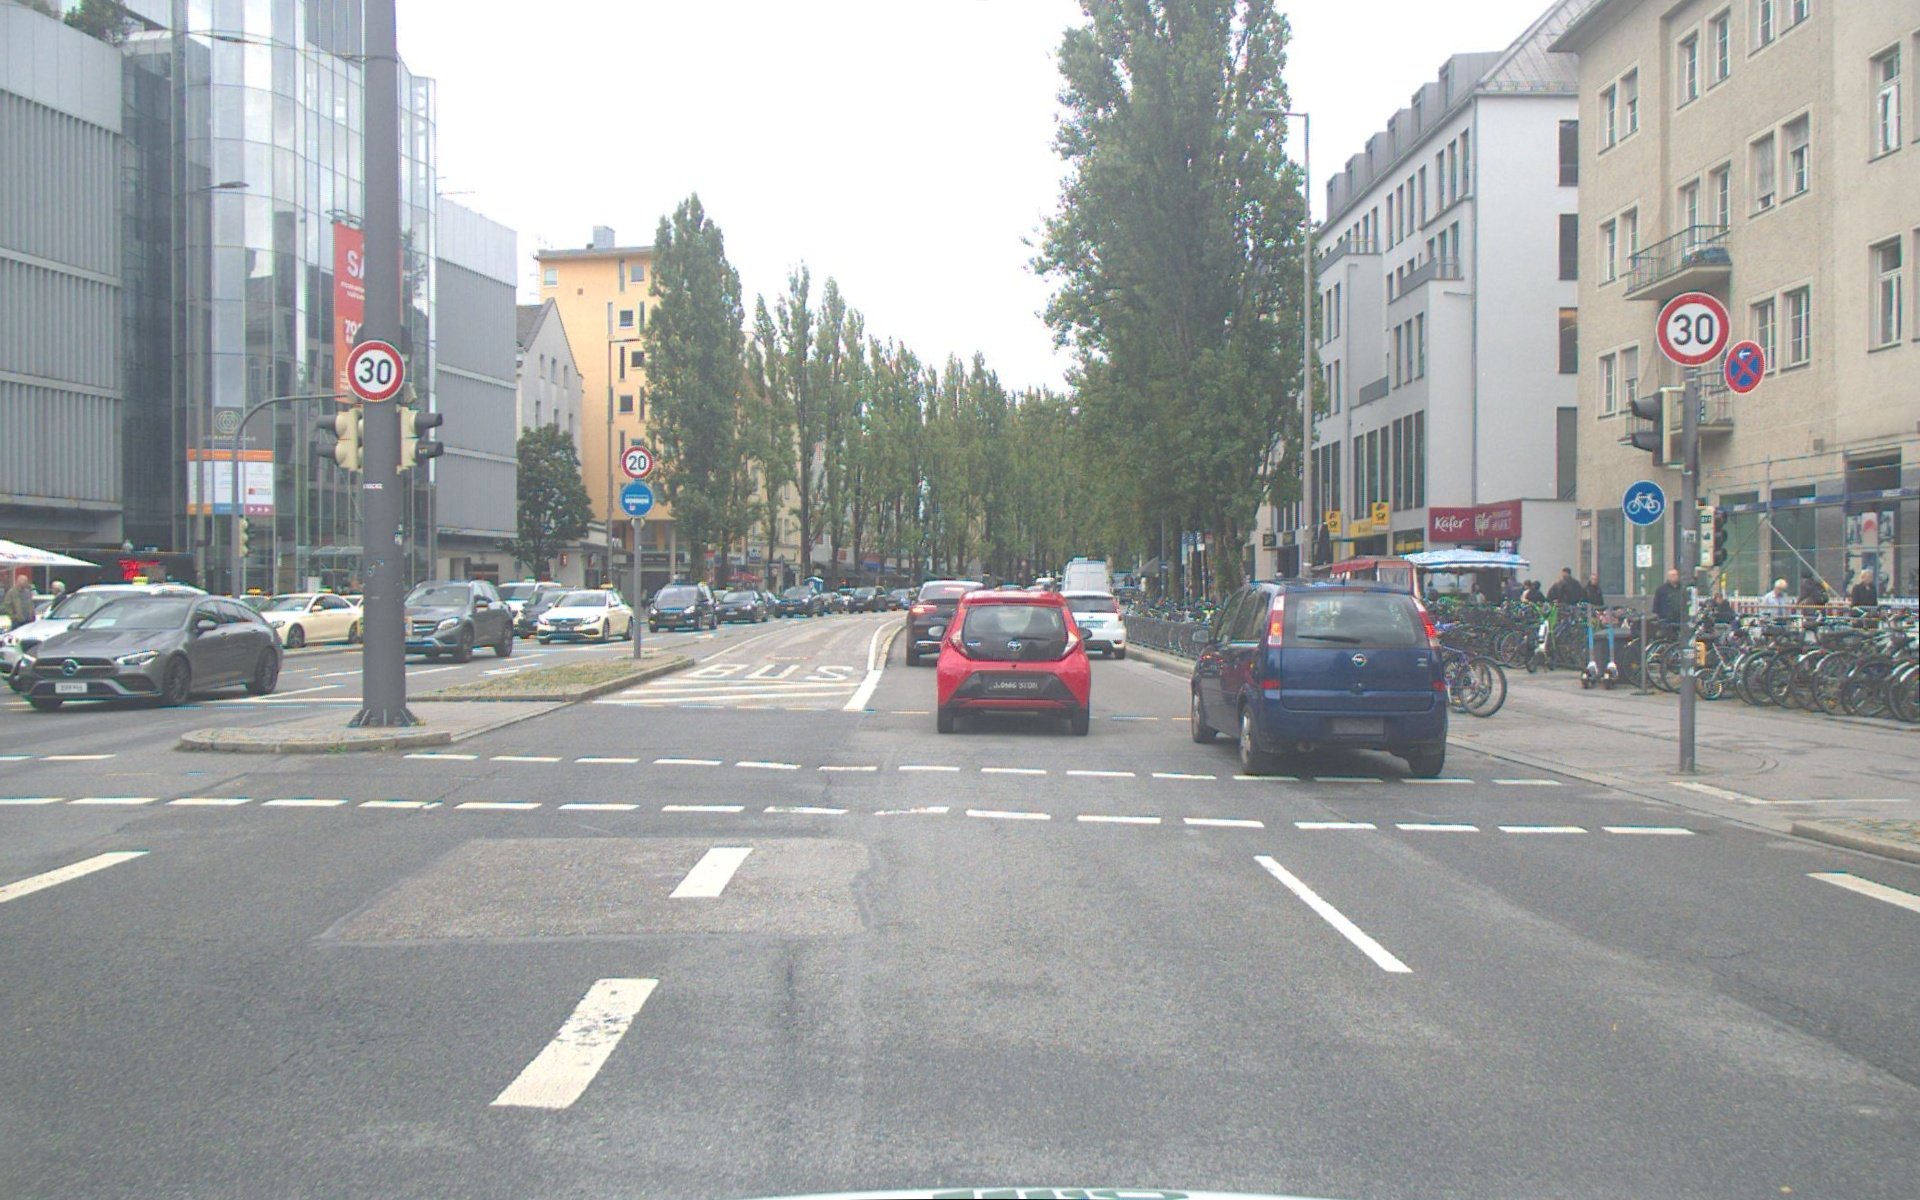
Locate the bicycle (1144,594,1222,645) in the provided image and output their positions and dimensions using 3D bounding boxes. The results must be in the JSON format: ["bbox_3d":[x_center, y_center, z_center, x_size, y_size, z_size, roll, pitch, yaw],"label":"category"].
[{"bbox_3d":[5.218,0.443,38.750,1.805,1.156,0.583,0,1,42],"label":"bicycle"}]

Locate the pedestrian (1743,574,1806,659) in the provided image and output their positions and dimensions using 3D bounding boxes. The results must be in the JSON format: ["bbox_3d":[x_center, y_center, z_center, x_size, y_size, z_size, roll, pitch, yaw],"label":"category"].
[{"bbox_3d":[15.256,0.295,30.998,0.762,1.544,0.758,-2,1,-3],"label":"pedestrian"}]

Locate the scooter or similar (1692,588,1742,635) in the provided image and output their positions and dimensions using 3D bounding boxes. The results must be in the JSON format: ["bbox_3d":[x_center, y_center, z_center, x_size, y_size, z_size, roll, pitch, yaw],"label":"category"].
[{"bbox_3d":[16.321,0.238,35.679,0.524,0.960,1.124,-2,1,-2],"label":"scooter or similar"}]

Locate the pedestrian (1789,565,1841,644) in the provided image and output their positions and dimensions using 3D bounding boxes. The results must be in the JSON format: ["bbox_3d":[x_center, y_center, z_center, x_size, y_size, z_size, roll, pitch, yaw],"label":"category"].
[{"bbox_3d":[17.450,0.089,33.769,0.635,1.596,0.787,-1,1,0],"label":"pedestrian"}]

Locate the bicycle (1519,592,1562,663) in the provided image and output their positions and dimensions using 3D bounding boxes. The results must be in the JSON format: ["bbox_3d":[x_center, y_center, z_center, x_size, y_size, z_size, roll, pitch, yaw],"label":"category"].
[{"bbox_3d":[10.061,0.459,28.657,0.361,1.161,1.720,0,1,31],"label":"bicycle"}]

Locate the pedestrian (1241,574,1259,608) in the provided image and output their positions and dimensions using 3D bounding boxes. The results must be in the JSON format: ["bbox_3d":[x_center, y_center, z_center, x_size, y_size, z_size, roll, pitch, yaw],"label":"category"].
[{"bbox_3d":[13.786,-0.428,78.669,0.748,1.621,0.676,0,0,-1],"label":"pedestrian"}]

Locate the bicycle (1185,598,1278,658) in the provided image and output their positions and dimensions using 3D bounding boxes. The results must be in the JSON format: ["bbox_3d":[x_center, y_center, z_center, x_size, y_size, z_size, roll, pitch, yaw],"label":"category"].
[{"bbox_3d":[5.325,0.531,32.502,1.773,1.130,0.583,0,1,42],"label":"bicycle"}]

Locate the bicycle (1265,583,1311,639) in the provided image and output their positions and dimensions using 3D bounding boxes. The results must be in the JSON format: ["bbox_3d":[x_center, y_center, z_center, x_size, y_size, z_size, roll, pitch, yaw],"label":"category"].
[{"bbox_3d":[7.932,0.239,40.068,0.601,1.287,2.519,-1,1,0],"label":"bicycle"}]

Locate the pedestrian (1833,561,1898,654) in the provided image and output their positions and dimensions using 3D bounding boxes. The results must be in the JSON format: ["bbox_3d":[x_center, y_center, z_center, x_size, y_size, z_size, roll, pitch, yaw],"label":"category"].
[{"bbox_3d":[16.659,0.130,30.449,0.735,1.679,0.758,-2,1,-3],"label":"pedestrian"}]

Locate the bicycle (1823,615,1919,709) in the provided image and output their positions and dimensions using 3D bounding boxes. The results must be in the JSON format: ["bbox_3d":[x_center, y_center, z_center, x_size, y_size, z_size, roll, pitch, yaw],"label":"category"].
[{"bbox_3d":[10.480,0.666,18.137,1.801,0.981,0.508,-1,1,-3],"label":"bicycle"}]

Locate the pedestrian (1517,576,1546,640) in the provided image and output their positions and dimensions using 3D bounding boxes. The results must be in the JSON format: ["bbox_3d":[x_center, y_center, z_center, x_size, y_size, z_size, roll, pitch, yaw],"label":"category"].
[{"bbox_3d":[13.990,0.189,40.489,0.568,1.531,0.615,0,0,30],"label":"pedestrian"}]

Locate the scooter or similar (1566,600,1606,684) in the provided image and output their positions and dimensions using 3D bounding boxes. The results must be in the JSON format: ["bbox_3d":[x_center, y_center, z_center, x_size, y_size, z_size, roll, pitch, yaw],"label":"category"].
[{"bbox_3d":[9.313,0.604,24.591,0.357,1.196,1.345,0,1,29],"label":"scooter or similar"}]

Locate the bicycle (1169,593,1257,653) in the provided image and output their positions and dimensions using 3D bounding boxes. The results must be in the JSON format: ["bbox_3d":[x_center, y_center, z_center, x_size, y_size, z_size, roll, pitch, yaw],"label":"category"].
[{"bbox_3d":[5.284,0.458,34.611,1.805,1.218,0.583,0,1,42],"label":"bicycle"}]

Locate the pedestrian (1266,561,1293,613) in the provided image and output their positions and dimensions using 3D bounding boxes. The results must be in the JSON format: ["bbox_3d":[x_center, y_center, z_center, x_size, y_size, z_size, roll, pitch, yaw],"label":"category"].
[{"bbox_3d":[10.966,-0.457,56.794,0.774,1.758,0.763,-1,0,-1],"label":"pedestrian"}]

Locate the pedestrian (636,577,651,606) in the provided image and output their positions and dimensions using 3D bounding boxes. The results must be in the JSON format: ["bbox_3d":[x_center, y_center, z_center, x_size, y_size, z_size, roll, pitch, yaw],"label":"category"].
[{"bbox_3d":[-20.586,-0.562,107.541,0.673,1.842,0.766,0,0,11],"label":"pedestrian"}]

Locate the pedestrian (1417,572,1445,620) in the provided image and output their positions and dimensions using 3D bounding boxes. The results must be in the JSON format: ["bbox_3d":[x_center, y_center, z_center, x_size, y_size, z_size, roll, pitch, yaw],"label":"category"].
[{"bbox_3d":[16.020,-0.146,56.271,0.717,1.630,0.742,0,0,-1],"label":"pedestrian"}]

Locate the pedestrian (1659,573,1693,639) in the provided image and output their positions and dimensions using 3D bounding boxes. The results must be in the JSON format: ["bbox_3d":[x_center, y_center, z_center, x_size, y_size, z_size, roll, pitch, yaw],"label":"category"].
[{"bbox_3d":[18.343,0.139,42.385,0.628,1.673,0.562,-1,0,-1],"label":"pedestrian"}]

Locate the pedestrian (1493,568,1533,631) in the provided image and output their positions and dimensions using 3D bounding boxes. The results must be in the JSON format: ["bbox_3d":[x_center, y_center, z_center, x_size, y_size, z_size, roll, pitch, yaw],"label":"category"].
[{"bbox_3d":[13.943,-0.016,41.685,0.794,1.548,0.798,0,1,32],"label":"pedestrian"}]

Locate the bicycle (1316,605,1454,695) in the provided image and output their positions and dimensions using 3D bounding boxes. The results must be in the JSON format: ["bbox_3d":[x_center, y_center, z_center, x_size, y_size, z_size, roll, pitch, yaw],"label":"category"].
[{"bbox_3d":[5.833,0.668,22.761,1.769,1.178,0.546,0,1,37],"label":"bicycle"}]

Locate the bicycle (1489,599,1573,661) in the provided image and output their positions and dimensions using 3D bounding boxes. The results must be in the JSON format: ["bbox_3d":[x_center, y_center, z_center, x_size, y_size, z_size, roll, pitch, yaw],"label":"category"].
[{"bbox_3d":[10.254,0.537,29.717,1.389,1.096,0.369,-1,0,0],"label":"bicycle"}]

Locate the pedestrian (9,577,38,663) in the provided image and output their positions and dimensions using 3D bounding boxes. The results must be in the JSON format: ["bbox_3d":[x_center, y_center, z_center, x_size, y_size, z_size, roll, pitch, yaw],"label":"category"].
[{"bbox_3d":[-19.505,0.412,34.441,0.438,1.790,0.354,0,1,35],"label":"pedestrian"}]

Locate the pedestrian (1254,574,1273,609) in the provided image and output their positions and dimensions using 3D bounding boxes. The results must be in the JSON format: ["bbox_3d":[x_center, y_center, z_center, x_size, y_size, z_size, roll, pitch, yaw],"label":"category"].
[{"bbox_3d":[13.763,-0.378,74.987,0.698,1.585,0.676,0,0,-1],"label":"pedestrian"}]

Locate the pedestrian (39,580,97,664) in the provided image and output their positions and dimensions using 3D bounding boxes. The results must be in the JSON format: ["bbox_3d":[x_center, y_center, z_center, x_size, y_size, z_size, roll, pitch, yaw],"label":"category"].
[{"bbox_3d":[-18.573,0.457,34.441,0.754,1.720,0.752,0,1,4],"label":"pedestrian"}]

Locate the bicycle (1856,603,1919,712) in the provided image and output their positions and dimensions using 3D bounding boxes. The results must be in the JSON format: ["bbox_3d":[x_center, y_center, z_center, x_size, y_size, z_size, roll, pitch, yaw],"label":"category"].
[{"bbox_3d":[10.534,0.593,17.547,1.801,1.113,0.508,-1,0,-3],"label":"bicycle"}]

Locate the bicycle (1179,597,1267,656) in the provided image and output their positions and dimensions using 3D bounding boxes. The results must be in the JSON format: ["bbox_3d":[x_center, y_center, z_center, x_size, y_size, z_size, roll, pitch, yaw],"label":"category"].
[{"bbox_3d":[5.261,0.522,33.165,1.773,1.130,0.488,0,1,42],"label":"bicycle"}]

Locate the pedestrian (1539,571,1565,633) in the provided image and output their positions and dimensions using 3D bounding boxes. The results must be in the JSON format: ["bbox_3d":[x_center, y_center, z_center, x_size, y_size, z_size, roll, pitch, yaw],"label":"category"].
[{"bbox_3d":[14.658,0.042,40.961,0.497,1.510,0.463,0,1,34],"label":"pedestrian"}]

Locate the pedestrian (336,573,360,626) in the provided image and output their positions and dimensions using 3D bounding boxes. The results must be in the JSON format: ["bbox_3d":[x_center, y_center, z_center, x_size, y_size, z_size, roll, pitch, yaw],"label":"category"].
[{"bbox_3d":[-21.407,-0.008,57.828,0.545,1.849,0.628,0,0,10],"label":"pedestrian"}]

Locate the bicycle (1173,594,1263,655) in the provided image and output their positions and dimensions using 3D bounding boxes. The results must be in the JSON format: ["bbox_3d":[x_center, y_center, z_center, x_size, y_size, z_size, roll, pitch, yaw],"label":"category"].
[{"bbox_3d":[5.269,0.484,33.829,1.805,1.188,0.583,0,1,42],"label":"bicycle"}]

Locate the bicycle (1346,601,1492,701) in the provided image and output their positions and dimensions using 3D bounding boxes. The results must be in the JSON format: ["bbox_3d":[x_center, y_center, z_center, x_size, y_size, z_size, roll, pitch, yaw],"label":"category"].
[{"bbox_3d":[5.912,0.636,21.369,1.773,1.219,0.556,0,1,43],"label":"bicycle"}]

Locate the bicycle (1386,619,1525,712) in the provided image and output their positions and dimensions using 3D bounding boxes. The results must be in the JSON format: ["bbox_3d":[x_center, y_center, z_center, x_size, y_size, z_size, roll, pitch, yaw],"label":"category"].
[{"bbox_3d":[5.931,0.765,19.854,0.495,1.046,1.576,-1,1,-43],"label":"bicycle"}]

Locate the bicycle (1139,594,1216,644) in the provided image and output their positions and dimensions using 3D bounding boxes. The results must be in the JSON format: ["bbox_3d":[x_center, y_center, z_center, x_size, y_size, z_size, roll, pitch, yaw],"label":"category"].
[{"bbox_3d":[5.188,0.441,39.511,1.805,1.156,0.583,0,1,42],"label":"bicycle"}]

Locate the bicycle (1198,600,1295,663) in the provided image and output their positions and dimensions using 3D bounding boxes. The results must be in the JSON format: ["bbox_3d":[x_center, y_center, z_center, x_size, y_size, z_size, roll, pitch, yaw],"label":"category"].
[{"bbox_3d":[5.377,0.572,31.075,1.772,1.130,0.559,0,1,41],"label":"bicycle"}]

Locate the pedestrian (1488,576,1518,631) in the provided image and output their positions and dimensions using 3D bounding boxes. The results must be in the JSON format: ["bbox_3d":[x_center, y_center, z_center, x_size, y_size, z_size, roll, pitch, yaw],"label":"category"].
[{"bbox_3d":[14.321,0.092,43.644,0.603,1.450,0.659,-1,0,4],"label":"pedestrian"}]

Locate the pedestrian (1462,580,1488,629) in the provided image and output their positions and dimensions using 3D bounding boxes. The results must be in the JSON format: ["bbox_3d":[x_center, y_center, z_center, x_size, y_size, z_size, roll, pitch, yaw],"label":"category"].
[{"bbox_3d":[15.335,0.133,49.256,0.586,1.427,0.580,0,0,-1],"label":"pedestrian"}]

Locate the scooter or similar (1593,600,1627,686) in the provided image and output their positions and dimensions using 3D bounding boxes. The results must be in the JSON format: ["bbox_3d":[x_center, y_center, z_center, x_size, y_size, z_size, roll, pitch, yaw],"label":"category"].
[{"bbox_3d":[9.521,0.613,24.223,0.294,1.196,1.275,0,1,29],"label":"scooter or similar"}]

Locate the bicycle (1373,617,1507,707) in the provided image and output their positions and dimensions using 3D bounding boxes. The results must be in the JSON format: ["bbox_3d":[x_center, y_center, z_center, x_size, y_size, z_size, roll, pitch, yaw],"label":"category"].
[{"bbox_3d":[5.958,0.751,20.583,0.495,1.046,1.576,-1,1,-43],"label":"bicycle"}]

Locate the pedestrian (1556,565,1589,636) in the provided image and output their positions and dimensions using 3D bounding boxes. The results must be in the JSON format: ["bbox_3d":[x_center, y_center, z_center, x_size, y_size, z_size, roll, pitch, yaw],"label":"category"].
[{"bbox_3d":[14.810,0.012,39.985,0.590,1.698,0.683,0,1,34],"label":"pedestrian"}]

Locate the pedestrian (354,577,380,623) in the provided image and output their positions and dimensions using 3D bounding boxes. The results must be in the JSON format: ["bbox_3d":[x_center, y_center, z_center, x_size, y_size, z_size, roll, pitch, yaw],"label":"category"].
[{"bbox_3d":[-22.192,-0.008,61.878,0.637,1.721,0.712,0,0,12],"label":"pedestrian"}]

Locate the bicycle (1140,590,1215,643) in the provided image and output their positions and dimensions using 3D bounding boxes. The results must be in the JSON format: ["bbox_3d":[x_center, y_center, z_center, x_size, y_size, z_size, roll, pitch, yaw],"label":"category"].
[{"bbox_3d":[5.268,0.383,40.179,1.805,1.263,0.583,0,1,42],"label":"bicycle"}]

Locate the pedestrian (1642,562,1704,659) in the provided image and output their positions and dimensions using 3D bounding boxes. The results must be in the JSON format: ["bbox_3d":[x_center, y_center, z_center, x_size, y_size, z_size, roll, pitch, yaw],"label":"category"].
[{"bbox_3d":[13.236,0.188,30.719,0.796,1.757,0.758,-1,1,-1],"label":"pedestrian"}]

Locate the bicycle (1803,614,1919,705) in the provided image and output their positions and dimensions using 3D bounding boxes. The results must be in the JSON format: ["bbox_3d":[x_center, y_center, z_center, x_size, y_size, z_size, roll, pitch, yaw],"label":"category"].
[{"bbox_3d":[10.538,0.662,18.671,1.801,0.981,0.508,-1,1,-3],"label":"bicycle"}]

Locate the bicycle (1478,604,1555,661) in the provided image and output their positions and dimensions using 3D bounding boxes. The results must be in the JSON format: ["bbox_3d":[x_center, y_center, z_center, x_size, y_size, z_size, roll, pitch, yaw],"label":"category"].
[{"bbox_3d":[10.165,0.591,30.221,1.287,1.017,0.369,-1,0,0],"label":"bicycle"}]

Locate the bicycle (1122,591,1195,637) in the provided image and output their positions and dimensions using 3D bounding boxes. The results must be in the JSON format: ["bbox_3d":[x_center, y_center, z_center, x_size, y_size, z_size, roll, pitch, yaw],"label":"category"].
[{"bbox_3d":[5.077,0.352,42.435,1.801,1.156,0.584,0,1,35],"label":"bicycle"}]

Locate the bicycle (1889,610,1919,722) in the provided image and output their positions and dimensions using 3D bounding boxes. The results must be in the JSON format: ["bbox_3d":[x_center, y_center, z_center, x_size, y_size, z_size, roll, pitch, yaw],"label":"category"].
[{"bbox_3d":[10.566,0.660,16.981,1.801,1.113,0.508,-1,0,-3],"label":"bicycle"}]

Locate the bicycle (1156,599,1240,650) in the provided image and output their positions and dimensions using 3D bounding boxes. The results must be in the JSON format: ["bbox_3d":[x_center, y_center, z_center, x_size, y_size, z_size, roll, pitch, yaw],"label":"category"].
[{"bbox_3d":[5.177,0.514,36.017,1.805,1.070,0.583,0,1,42],"label":"bicycle"}]

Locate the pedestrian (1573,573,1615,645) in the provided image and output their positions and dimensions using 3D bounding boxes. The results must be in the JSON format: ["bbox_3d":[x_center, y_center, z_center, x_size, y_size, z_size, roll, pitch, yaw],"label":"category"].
[{"bbox_3d":[15.861,0.219,41.391,0.727,1.757,0.758,-1,1,-1],"label":"pedestrian"}]

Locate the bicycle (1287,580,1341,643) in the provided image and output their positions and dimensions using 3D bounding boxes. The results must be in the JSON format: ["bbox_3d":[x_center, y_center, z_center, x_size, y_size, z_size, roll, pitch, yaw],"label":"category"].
[{"bbox_3d":[7.503,0.218,35.182,0.601,1.287,2.519,-1,1,0],"label":"bicycle"}]

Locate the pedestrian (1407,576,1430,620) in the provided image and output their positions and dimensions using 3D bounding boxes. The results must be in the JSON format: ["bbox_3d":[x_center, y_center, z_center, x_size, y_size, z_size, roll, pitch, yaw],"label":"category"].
[{"bbox_3d":[14.984,-0.062,54.059,0.586,1.427,0.580,0,0,-1],"label":"pedestrian"}]

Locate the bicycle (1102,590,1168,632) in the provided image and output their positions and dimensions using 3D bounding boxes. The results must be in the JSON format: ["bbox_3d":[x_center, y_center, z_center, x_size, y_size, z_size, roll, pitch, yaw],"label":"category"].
[{"bbox_3d":[4.931,0.303,46.629,1.801,1.156,0.584,0,1,35],"label":"bicycle"}]

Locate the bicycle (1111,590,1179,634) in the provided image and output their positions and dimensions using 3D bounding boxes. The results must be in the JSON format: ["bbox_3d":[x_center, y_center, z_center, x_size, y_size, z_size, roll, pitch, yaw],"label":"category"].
[{"bbox_3d":[5.039,0.322,45.164,1.801,1.156,0.584,0,1,35],"label":"bicycle"}]

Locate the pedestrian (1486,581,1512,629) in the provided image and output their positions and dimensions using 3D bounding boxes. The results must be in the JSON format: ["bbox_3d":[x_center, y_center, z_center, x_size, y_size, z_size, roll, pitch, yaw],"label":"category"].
[{"bbox_3d":[16.045,0.151,49.244,0.563,1.427,0.580,0,0,-1],"label":"pedestrian"}]
